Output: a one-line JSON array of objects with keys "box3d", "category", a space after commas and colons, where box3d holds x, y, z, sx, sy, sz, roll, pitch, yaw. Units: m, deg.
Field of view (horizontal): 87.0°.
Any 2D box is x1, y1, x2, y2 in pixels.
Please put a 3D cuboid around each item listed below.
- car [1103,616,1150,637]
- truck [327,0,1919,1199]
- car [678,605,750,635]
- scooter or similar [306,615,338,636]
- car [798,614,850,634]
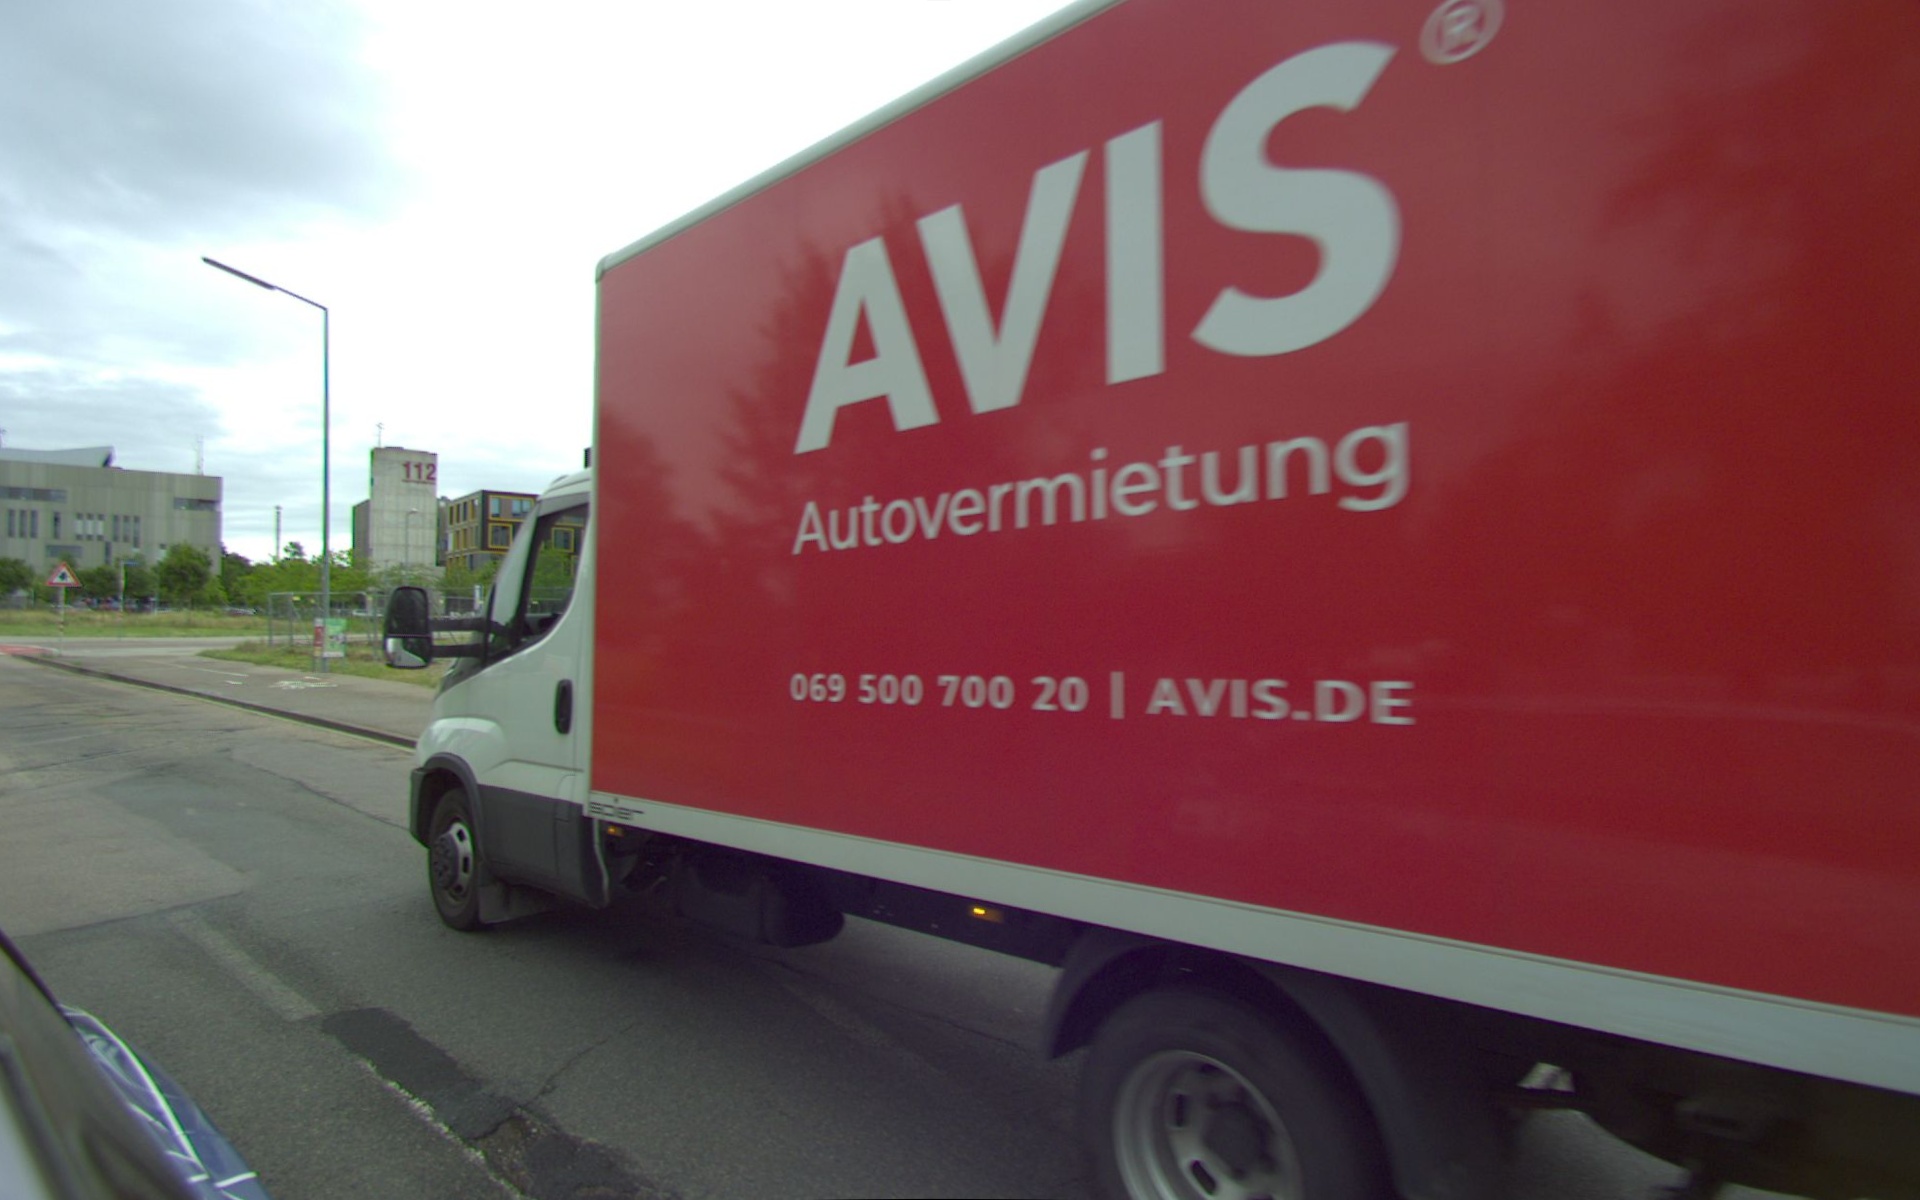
[{"box3d": [14.555, 2.305, 88.502, 3.936, 1.760, 2.003, 1, -2, -40], "category": "car"}, {"box3d": [-0.064, -0.019, 4.120, 7.497, 3.085, 2.315, -1, -4, 44], "category": "truck"}, {"box3d": [-15.358, 1.240, 63.279, 3.936, 1.837, 2.004, 1, -2, -39], "category": "car"}, {"box3d": [-36.371, 1.430, 57.682, 0.568, 1.177, 1.455, 0, 0, 24], "category": "scooter or similar"}, {"box3d": [-10.840, 1.891, 80.480, 4.153, 1.529, 1.972, -2, -2, 43], "category": "car"}]
